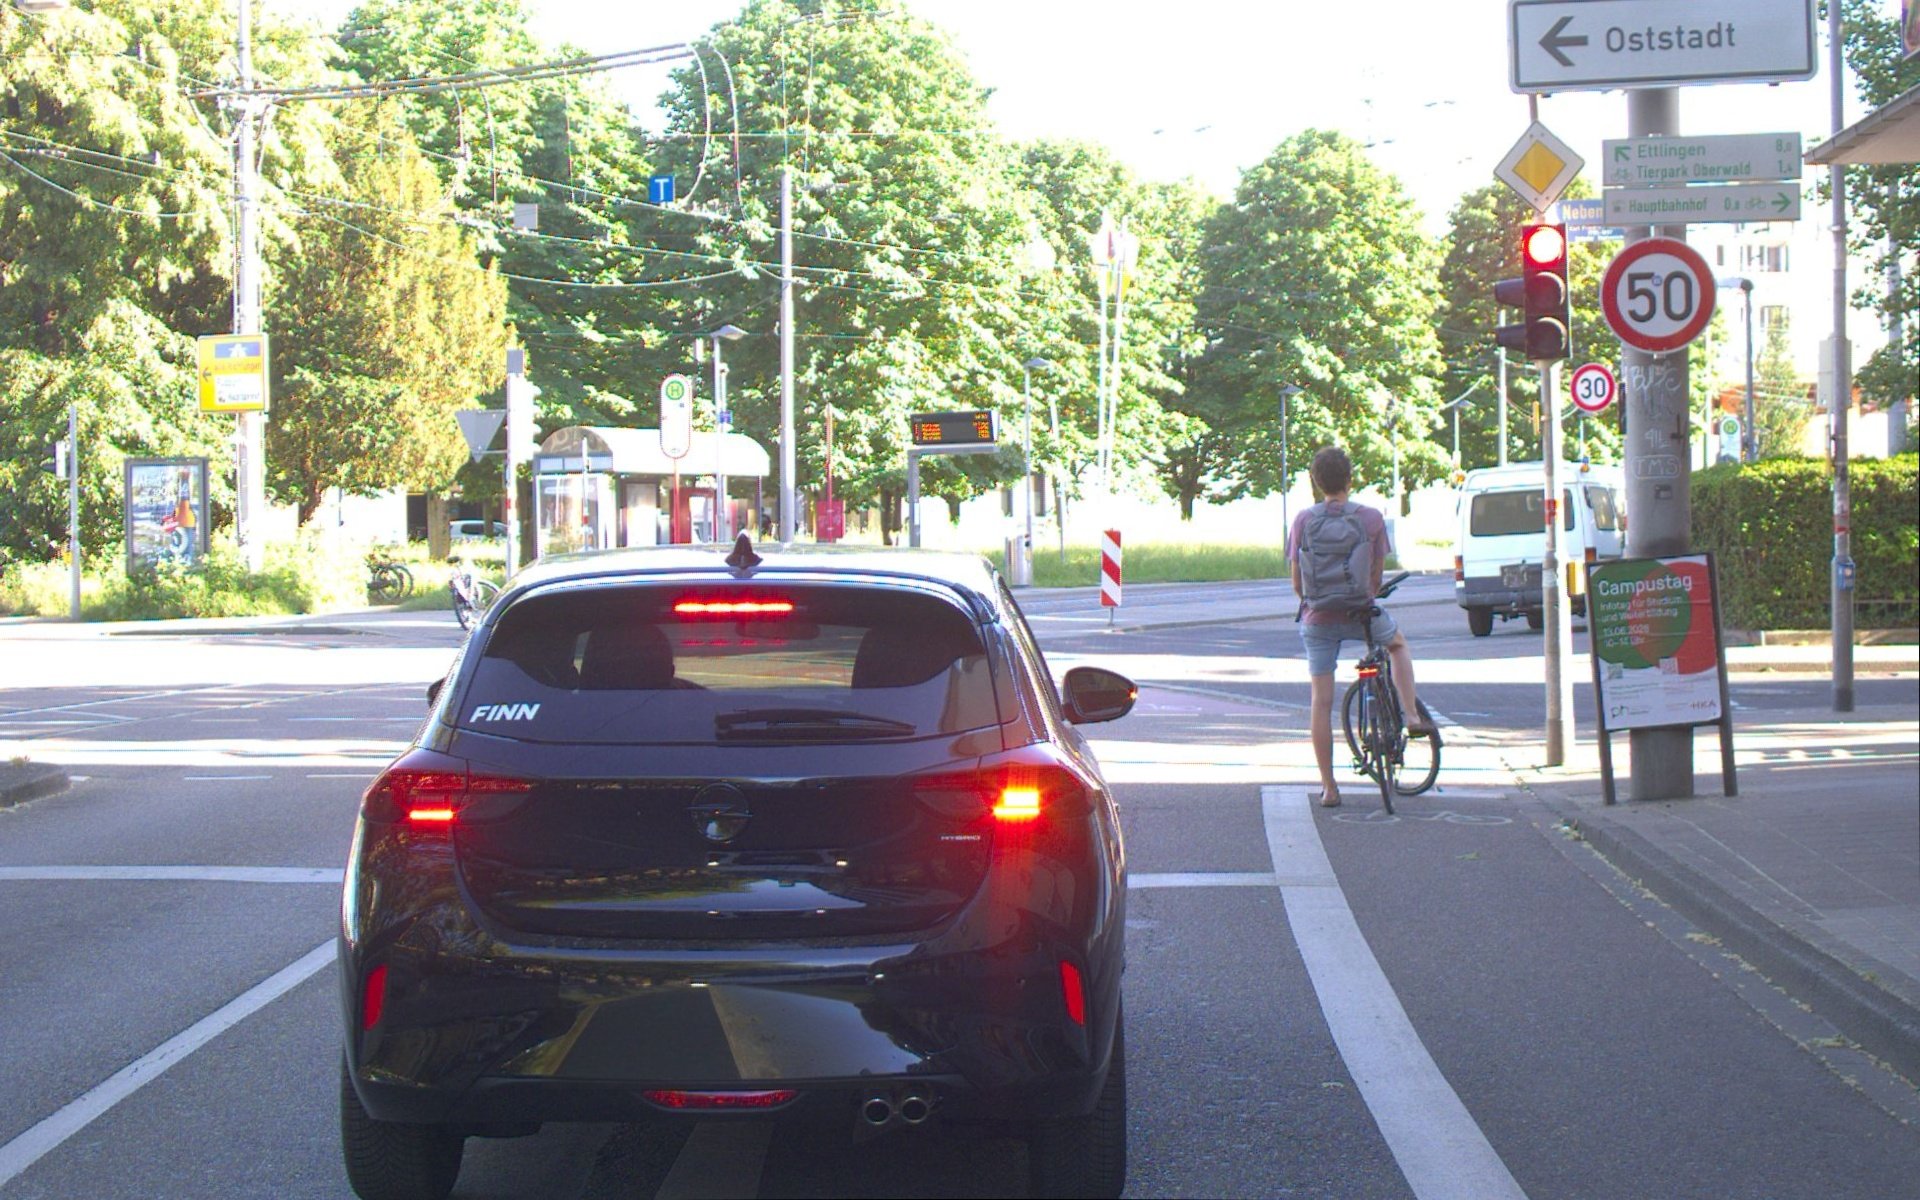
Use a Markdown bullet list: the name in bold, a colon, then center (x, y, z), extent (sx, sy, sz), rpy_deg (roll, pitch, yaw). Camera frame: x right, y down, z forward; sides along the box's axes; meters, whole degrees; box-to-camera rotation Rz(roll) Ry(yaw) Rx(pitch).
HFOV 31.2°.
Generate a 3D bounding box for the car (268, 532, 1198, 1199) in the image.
- **car**: center (-0.473, 0.566, 8.813), extent (1.840, 1.457, 3.984), rpy_deg (0, 1, -1)

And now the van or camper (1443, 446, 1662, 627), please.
- **van or camper**: center (8.031, -0.838, 46.287), extent (2.031, 2.302, 4.535), rpy_deg (1, 1, 21)

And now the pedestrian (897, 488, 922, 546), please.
- **pedestrian**: center (-1.650, -2.698, 111.406), extent (0.603, 1.865, 0.519), rpy_deg (1, 0, -31)

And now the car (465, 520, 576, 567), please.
- **car**: center (-15.301, -1.970, 119.621), extent (3.535, 1.564, 1.547), rpy_deg (1, 1, -23)

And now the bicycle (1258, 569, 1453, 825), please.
- **bicycle**: center (2.098, 0.469, 18.017), extent (0.753, 1.231, 2.014), rpy_deg (0, 1, 14)

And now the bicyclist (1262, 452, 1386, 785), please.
- **bicyclist**: center (1.886, 0.088, 17.775), extent (0.534, 1.686, 0.567), rpy_deg (0, 1, 17)

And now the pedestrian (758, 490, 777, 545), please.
- **pedestrian**: center (-6.552, -2.821, 117.134), extent (0.603, 1.865, 0.519), rpy_deg (1, 0, -6)

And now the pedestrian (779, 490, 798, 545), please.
- **pedestrian**: center (-5.831, -2.808, 116.780), extent (0.603, 1.865, 0.519), rpy_deg (1, 0, -6)

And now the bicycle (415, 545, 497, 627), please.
- **bicycle**: center (-6.811, -0.203, 46.564), extent (0.796, 1.061, 2.185), rpy_deg (0, 1, -1)
